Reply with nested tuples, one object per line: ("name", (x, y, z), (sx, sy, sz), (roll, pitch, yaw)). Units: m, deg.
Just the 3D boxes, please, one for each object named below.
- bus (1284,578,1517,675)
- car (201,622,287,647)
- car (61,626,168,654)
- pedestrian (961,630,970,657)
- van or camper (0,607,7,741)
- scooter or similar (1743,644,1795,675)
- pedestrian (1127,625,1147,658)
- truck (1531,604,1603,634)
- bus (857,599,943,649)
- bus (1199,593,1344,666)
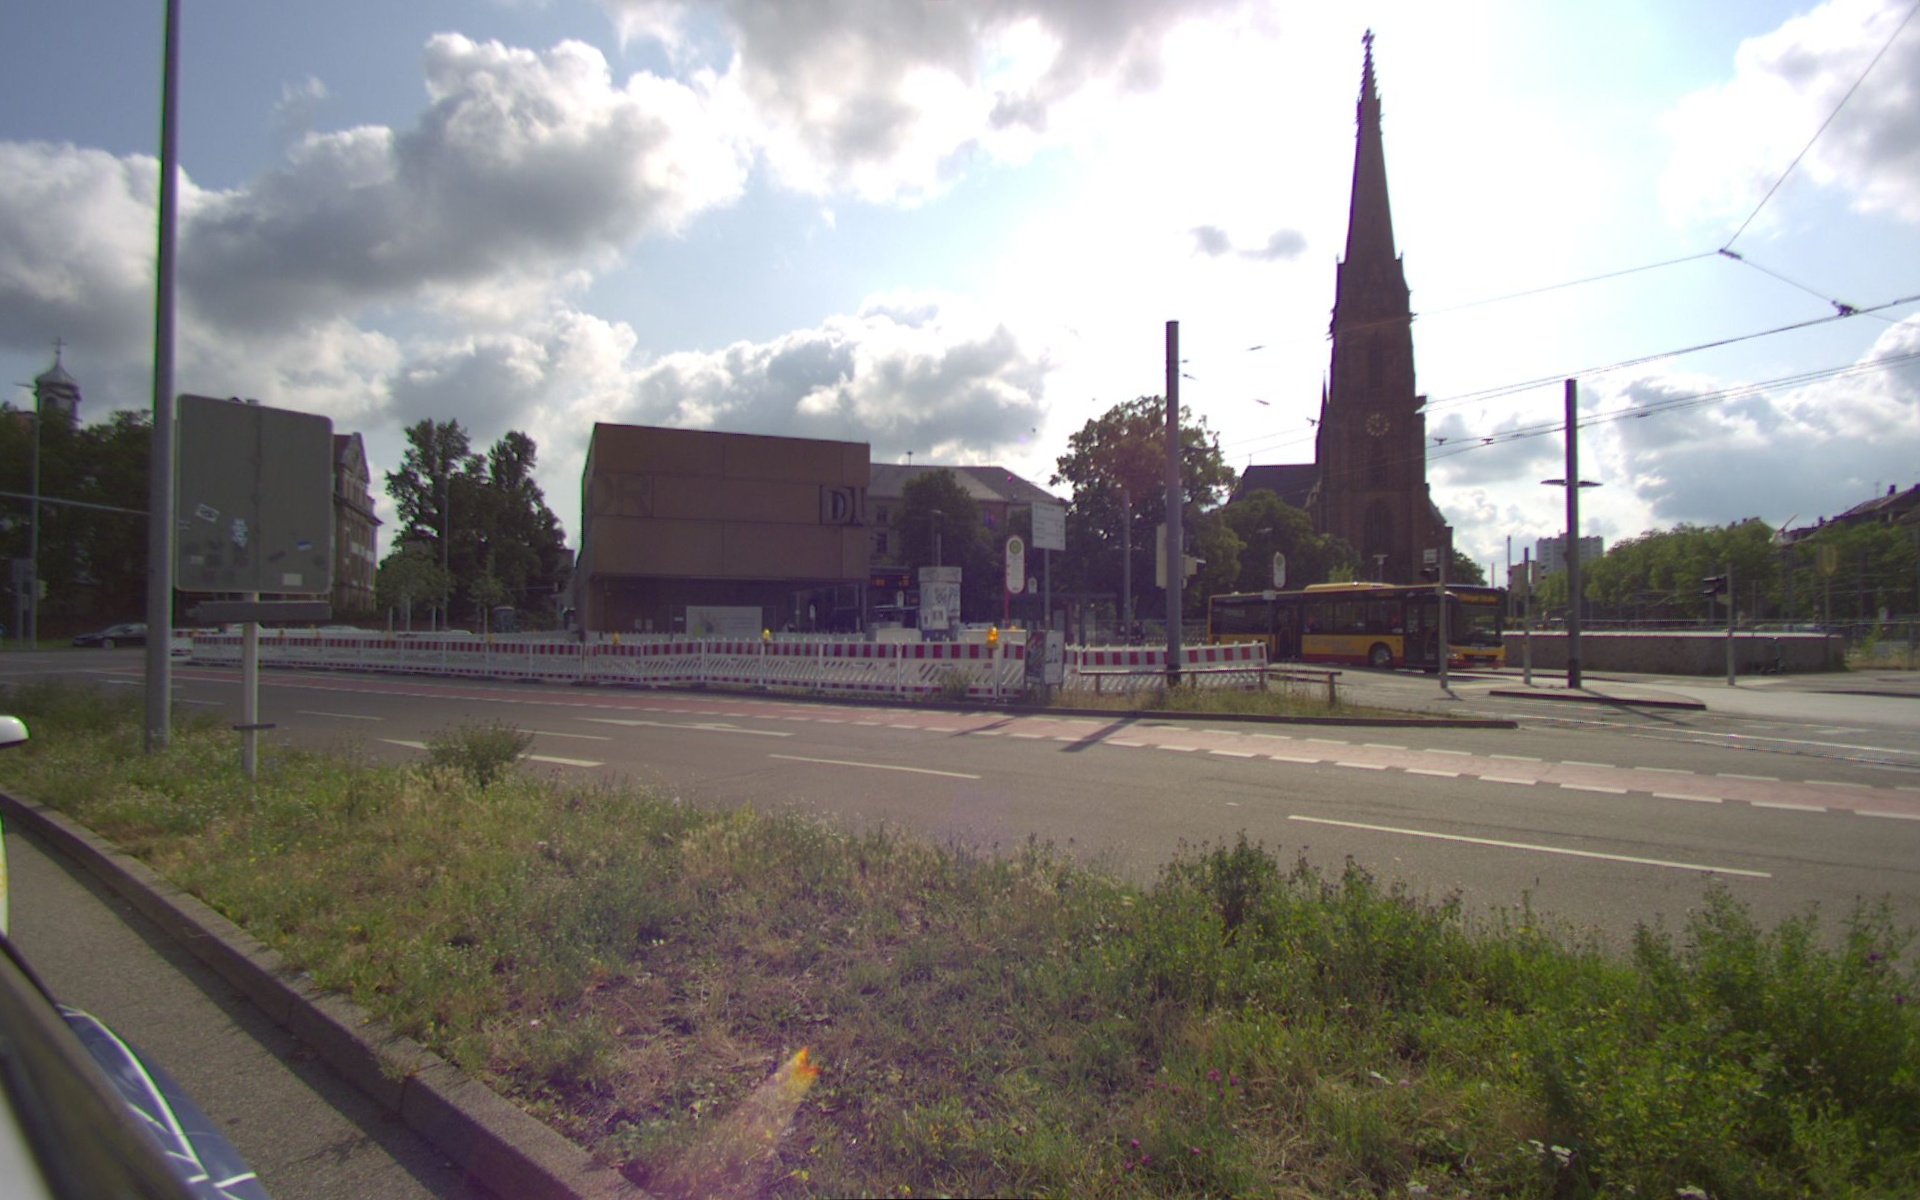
("bus", (14.237, 0.883, 33.447), (2.653, 2.855, 7.123), (1, -2, -23))
("car", (-42.480, 2.048, 60.134), (1.741, 1.401, 4.115), (0, -2, 11))
("car", (-43.965, 2.069, 52.737), (1.741, 1.401, 4.115), (0, -2, 11))
("pedestrian", (0.334, 2.559, 59.543), (0.352, 1.614, 0.365), (0, -1, -28))
("van or camper", (-5.381, 0.758, 4.322), (4.000, 1.487, 1.605), (-1, -3, 43))
("scooter or similar", (25.666, 1.883, 32.113), (1.635, 0.957, 0.475), (1, -2, -20))
("pedestrian", (8.708, 2.024, 49.774), (0.654, 1.617, 0.740), (2, -2, -42))
("truck", (77.145, 2.445, 128.778), (7.388, 3.676, 2.456), (-1, -2, 18))
("bus", (-4.900, 1.905, 78.507), (2.913, 3.534, 12.293), (1, -2, -22))
("bus", (11.890, 1.148, 39.082), (2.654, 2.607, 5.094), (1, -2, -23))
